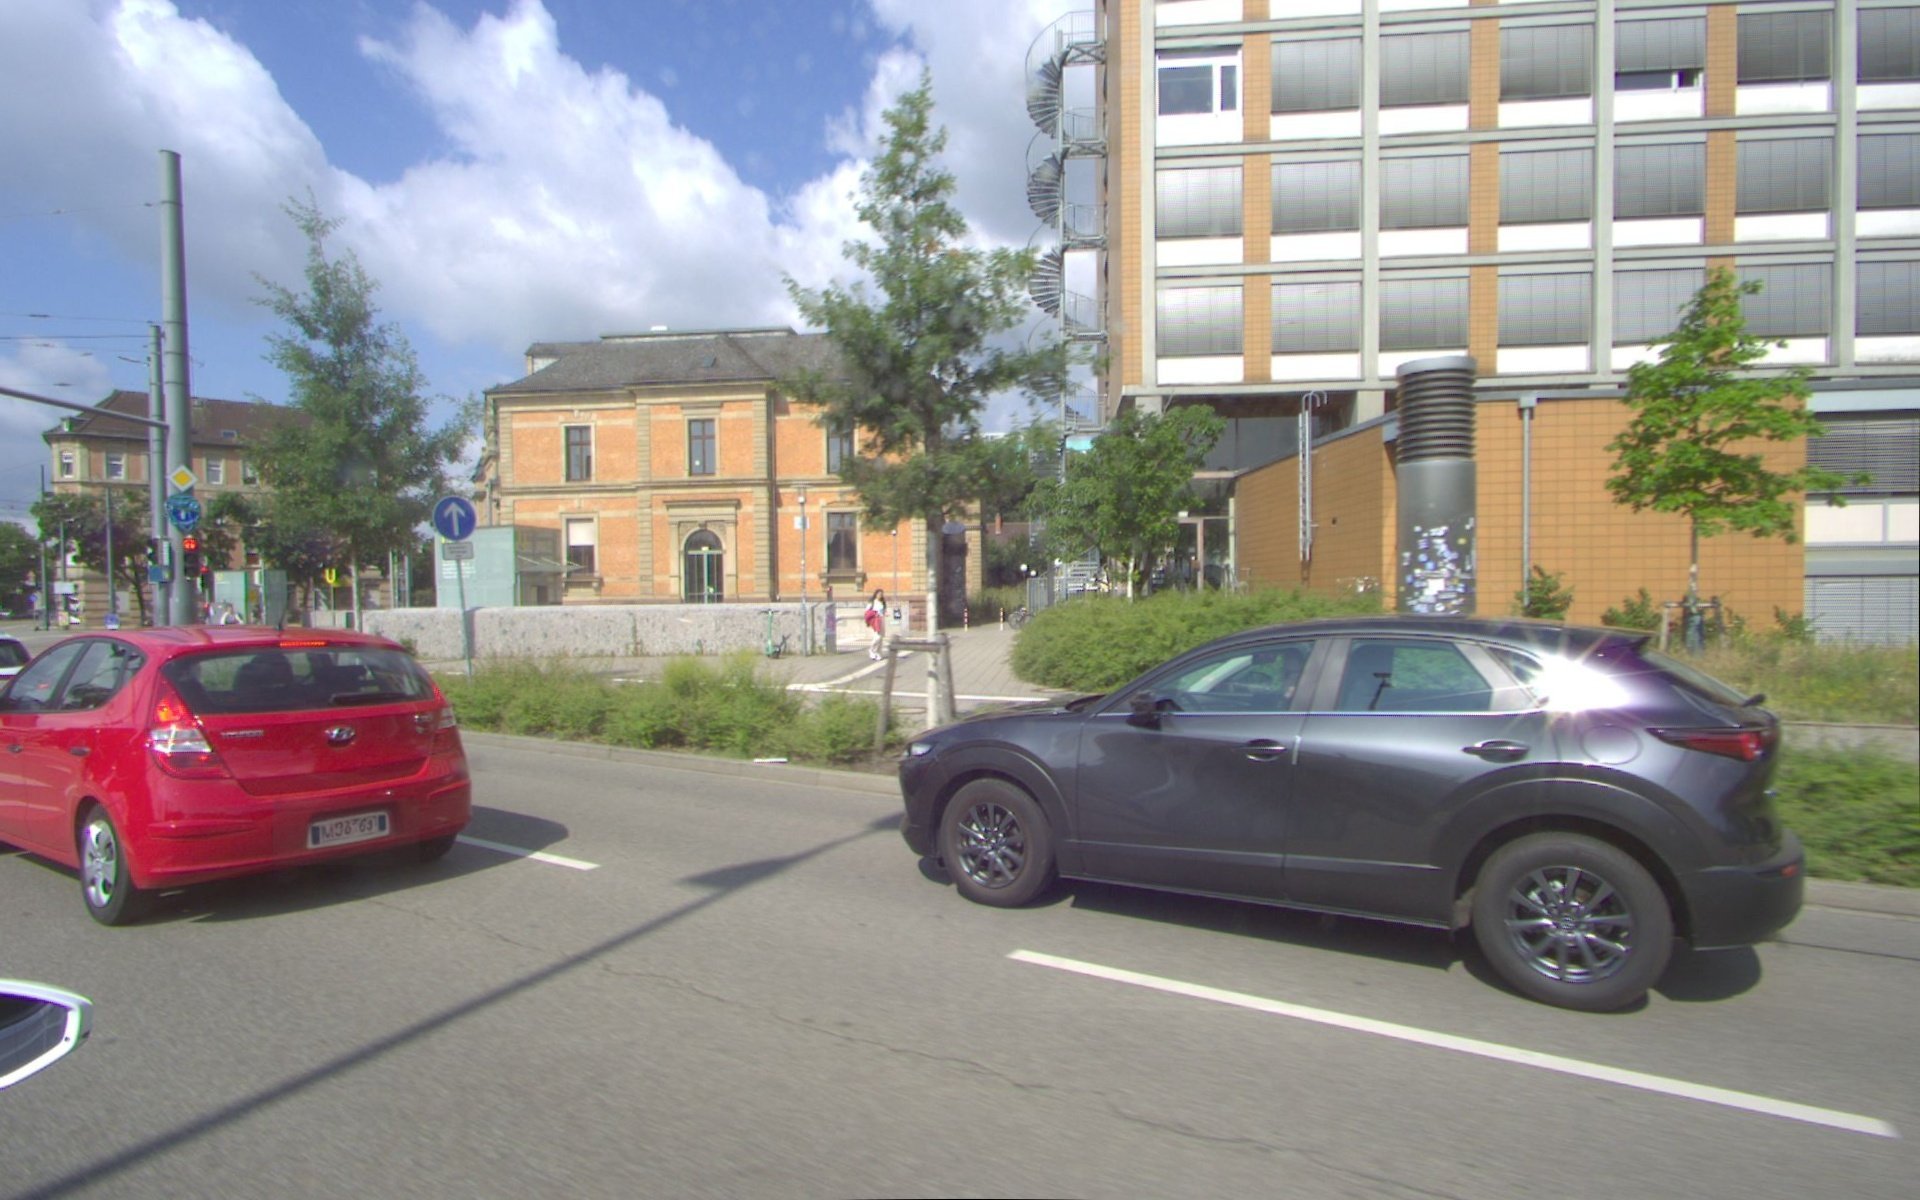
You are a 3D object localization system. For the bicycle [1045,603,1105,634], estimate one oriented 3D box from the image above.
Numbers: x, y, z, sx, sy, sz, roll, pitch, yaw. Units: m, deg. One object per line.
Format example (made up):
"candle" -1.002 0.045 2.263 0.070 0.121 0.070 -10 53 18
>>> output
"bicycle" 4.189 0.675 36.518 2.031 1.087 1.037 0 0 -2

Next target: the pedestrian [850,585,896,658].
"pedestrian" -2.103 0.503 24.167 0.757 1.709 0.874 -1 1 -38

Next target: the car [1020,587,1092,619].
"car" 6.233 0.197 65.269 4.624 2.040 2.000 0 0 4

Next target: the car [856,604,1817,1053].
"car" 1.638 0.812 5.287 4.144 1.527 1.803 -1 -1 32

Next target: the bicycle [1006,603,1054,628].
"bicycle" 3.134 0.696 44.758 2.031 1.087 1.044 0 0 -2

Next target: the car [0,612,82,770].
"car" -11.061 0.899 10.504 4.277 1.492 1.842 -1 1 36

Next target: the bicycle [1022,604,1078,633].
"bicycle" 3.454 0.701 38.497 2.031 1.087 0.748 0 1 -2

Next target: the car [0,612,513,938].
"car" -4.855 0.813 6.360 4.010 1.458 1.812 0 -1 33

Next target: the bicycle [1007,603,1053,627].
"bicycle" 3.254 0.682 46.565 2.031 1.087 0.748 0 1 -2
